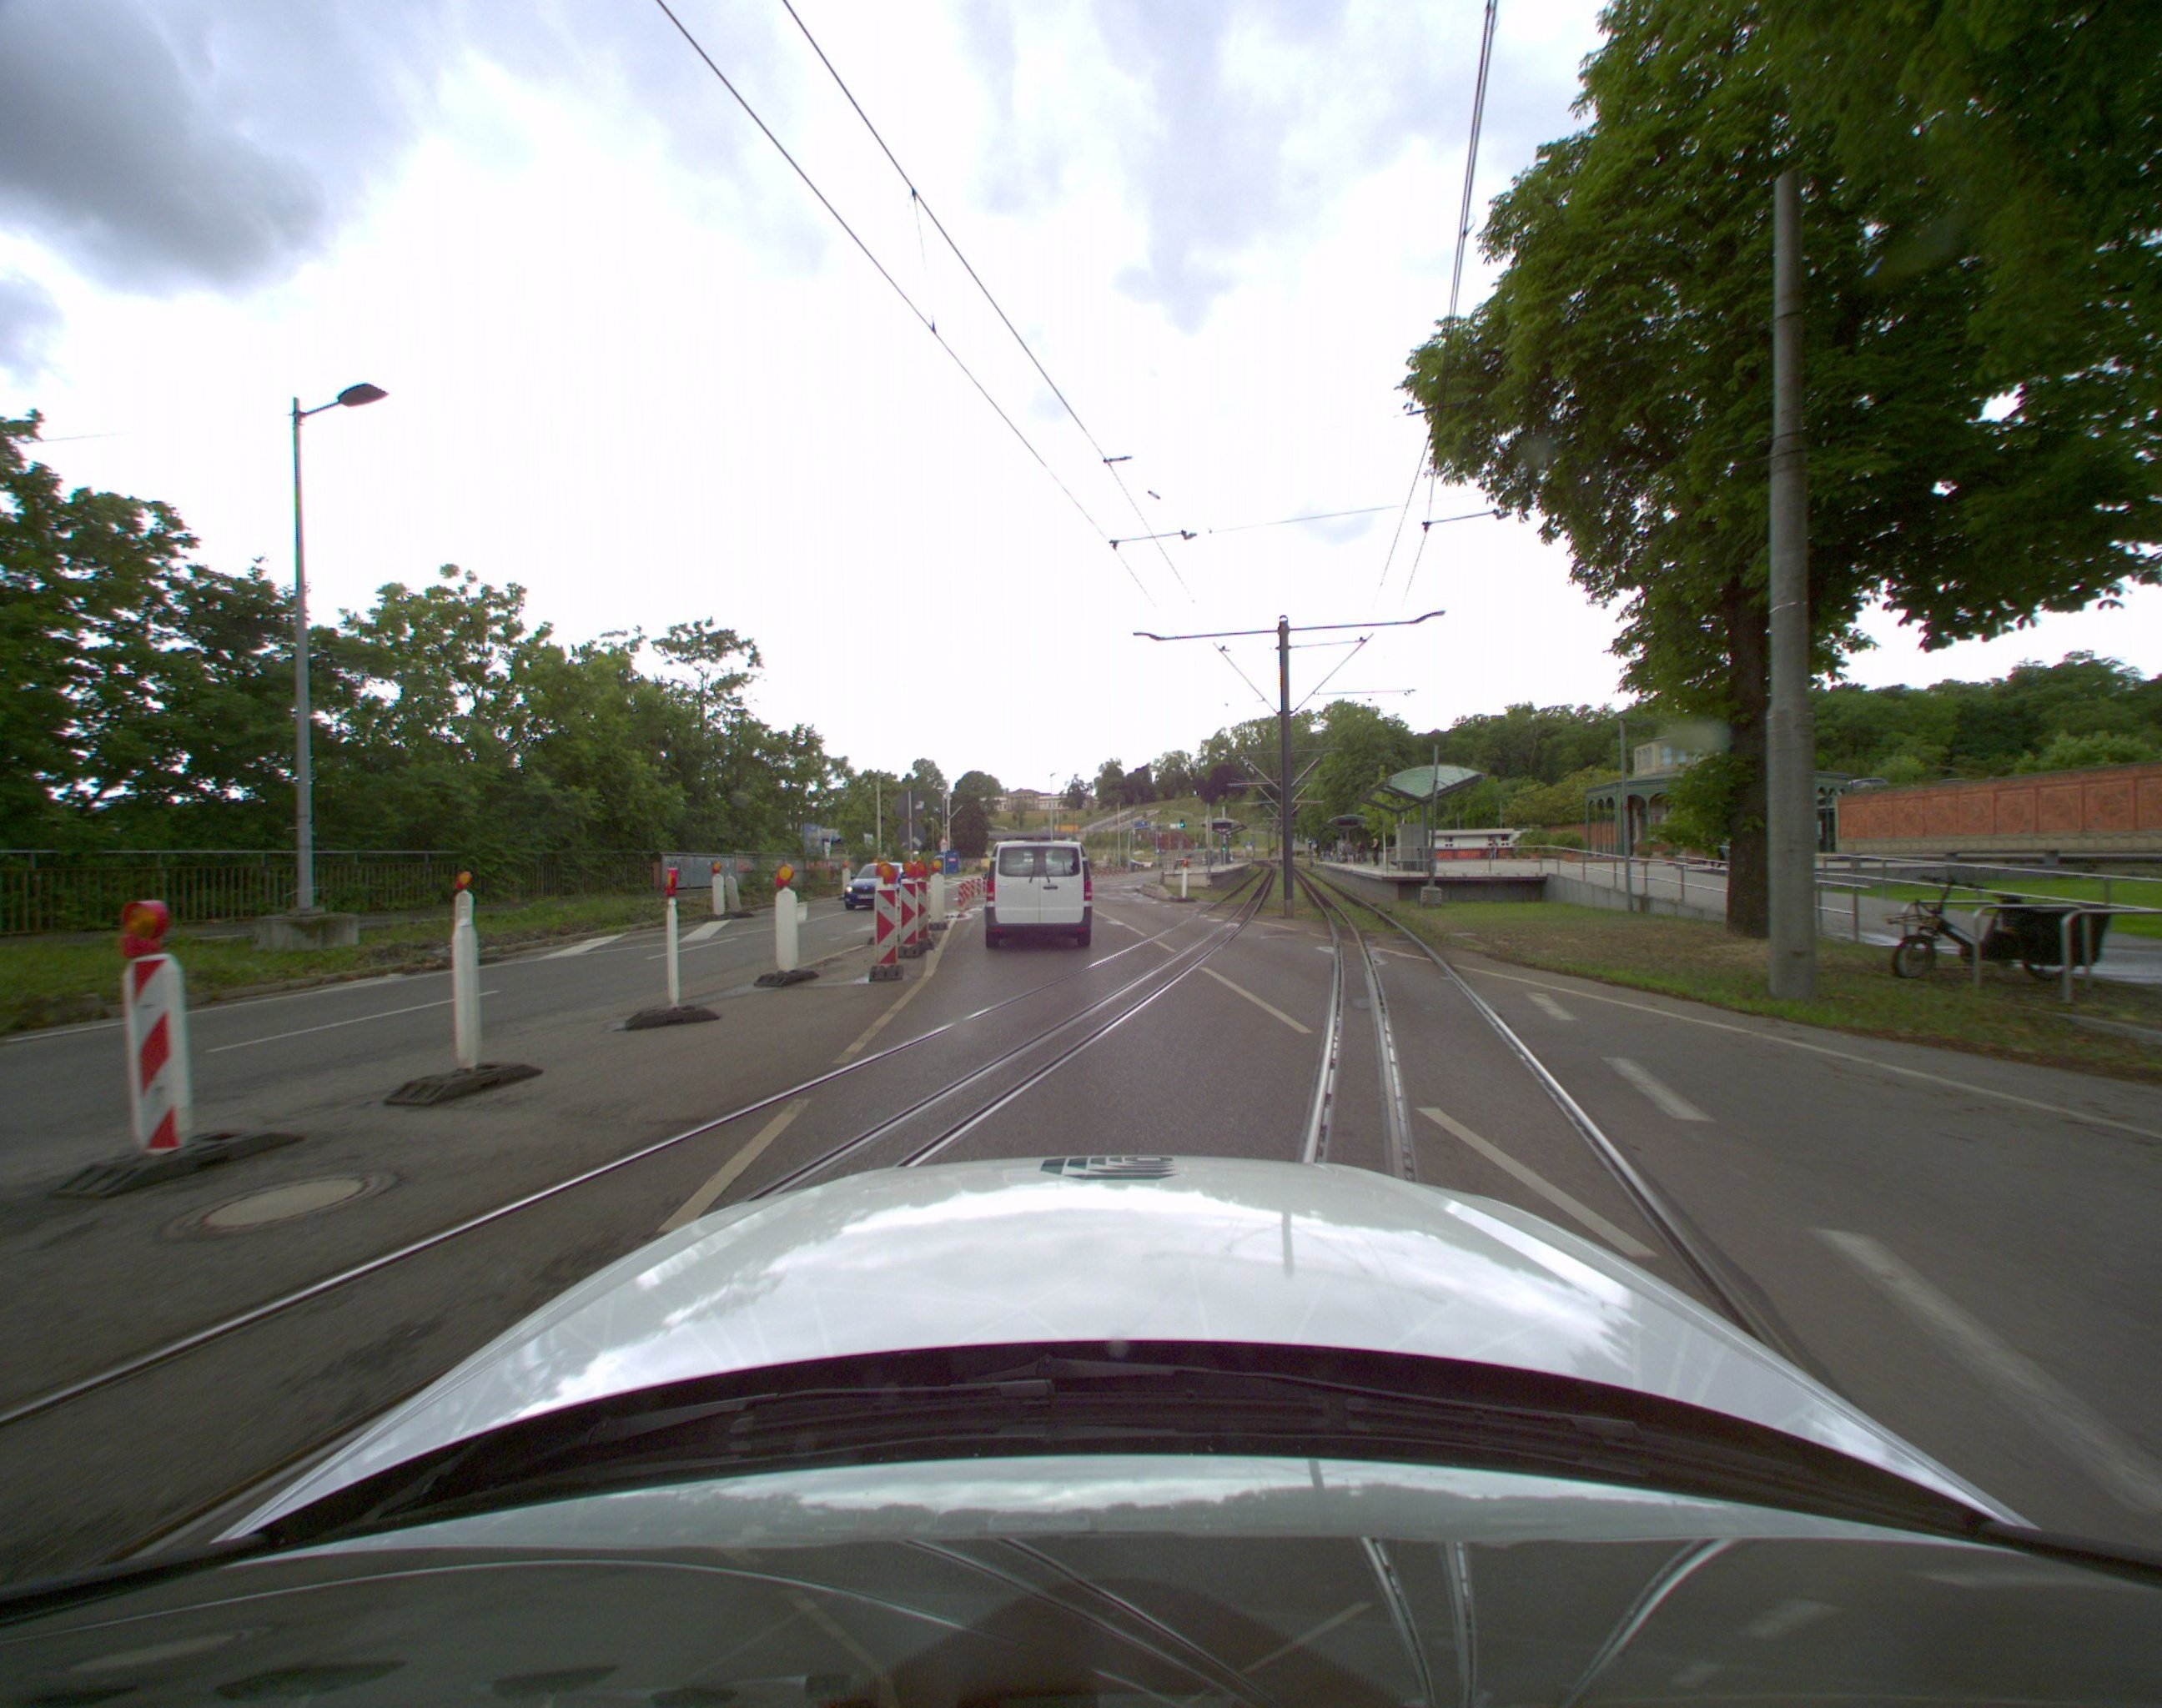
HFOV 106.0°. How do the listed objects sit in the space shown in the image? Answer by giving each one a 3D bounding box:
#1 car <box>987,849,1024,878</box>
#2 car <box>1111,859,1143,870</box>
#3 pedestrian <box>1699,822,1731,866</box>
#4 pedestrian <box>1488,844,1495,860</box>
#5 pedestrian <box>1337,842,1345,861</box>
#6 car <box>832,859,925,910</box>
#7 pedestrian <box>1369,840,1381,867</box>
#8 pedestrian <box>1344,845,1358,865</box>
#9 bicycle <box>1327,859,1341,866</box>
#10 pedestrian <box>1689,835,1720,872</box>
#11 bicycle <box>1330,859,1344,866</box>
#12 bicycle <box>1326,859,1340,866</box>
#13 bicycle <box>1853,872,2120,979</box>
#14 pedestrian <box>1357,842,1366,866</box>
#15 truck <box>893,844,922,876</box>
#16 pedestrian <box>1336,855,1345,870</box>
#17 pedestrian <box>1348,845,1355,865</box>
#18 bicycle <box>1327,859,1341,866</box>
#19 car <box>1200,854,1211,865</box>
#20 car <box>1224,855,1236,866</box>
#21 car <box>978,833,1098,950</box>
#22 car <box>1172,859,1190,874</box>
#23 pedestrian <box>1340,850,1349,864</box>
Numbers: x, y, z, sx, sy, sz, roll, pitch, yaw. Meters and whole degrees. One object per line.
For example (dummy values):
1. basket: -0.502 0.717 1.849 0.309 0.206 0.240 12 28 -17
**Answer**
1. car: -4.850 0.579 52.919 1.857 1.782 4.749 -1 0 1
2. car: 7.333 1.676 129.599 4.667 1.477 2.011 -2 0 23
3. pedestrian: 26.953 -0.437 34.640 0.552 1.838 0.942 2 -1 -33
4. pedestrian: 36.924 -0.169 73.200 0.481 1.487 0.462 1 -1 16
5. pedestrian: 22.937 -0.209 71.841 0.540 1.677 0.677 1 -1 10
6. car: -6.575 0.941 26.909 1.686 1.461 3.920 -2 0 6
7. pedestrian: 18.798 -0.044 52.058 0.628 1.687 0.869 1 -1 13
8. pedestrian: 22.383 0.087 67.510 0.856 1.677 0.762 1 -1 3
9. bicycle: 37.129 1.308 119.397 1.898 0.975 0.533 -2 -1 14
10. pedestrian: 20.730 -0.007 27.085 0.545 1.201 0.670 1 -1 7
11. bicycle: 37.109 1.259 118.253 1.898 0.896 0.533 -2 -1 14
12. bicycle: 37.637 1.290 121.678 1.898 0.975 0.533 -2 -1 14
13. bicycle: 10.524 0.807 9.565 1.975 1.158 0.744 -1 -1 18
14. pedestrian: 21.872 -0.028 63.489 0.628 1.838 0.954 1 -1 15
15. truck: -19.482 0.684 91.062 2.796 3.336 8.438 -2 0 -14
16. pedestrian: 24.646 0.813 77.363 0.669 1.323 0.971 1 -1 12
17. pedestrian: 22.044 0.080 66.389 0.520 1.620 0.678 1 -1 15
18. bicycle: 37.235 1.316 120.039 1.898 0.975 0.533 -2 -1 14
19. car: 20.918 0.985 136.586 1.742 1.772 4.010 1 -1 9
20. car: 28.336 1.305 154.874 2.187 2.014 5.164 0 -1 9
21. car: -0.753 0.639 15.636 1.954 1.904 4.458 1 0 -1
22. car: 12.160 1.541 98.928 1.982 1.772 4.010 1 -1 9
23. pedestrian: 22.063 0.273 68.209 0.652 1.191 0.678 1 -1 15
